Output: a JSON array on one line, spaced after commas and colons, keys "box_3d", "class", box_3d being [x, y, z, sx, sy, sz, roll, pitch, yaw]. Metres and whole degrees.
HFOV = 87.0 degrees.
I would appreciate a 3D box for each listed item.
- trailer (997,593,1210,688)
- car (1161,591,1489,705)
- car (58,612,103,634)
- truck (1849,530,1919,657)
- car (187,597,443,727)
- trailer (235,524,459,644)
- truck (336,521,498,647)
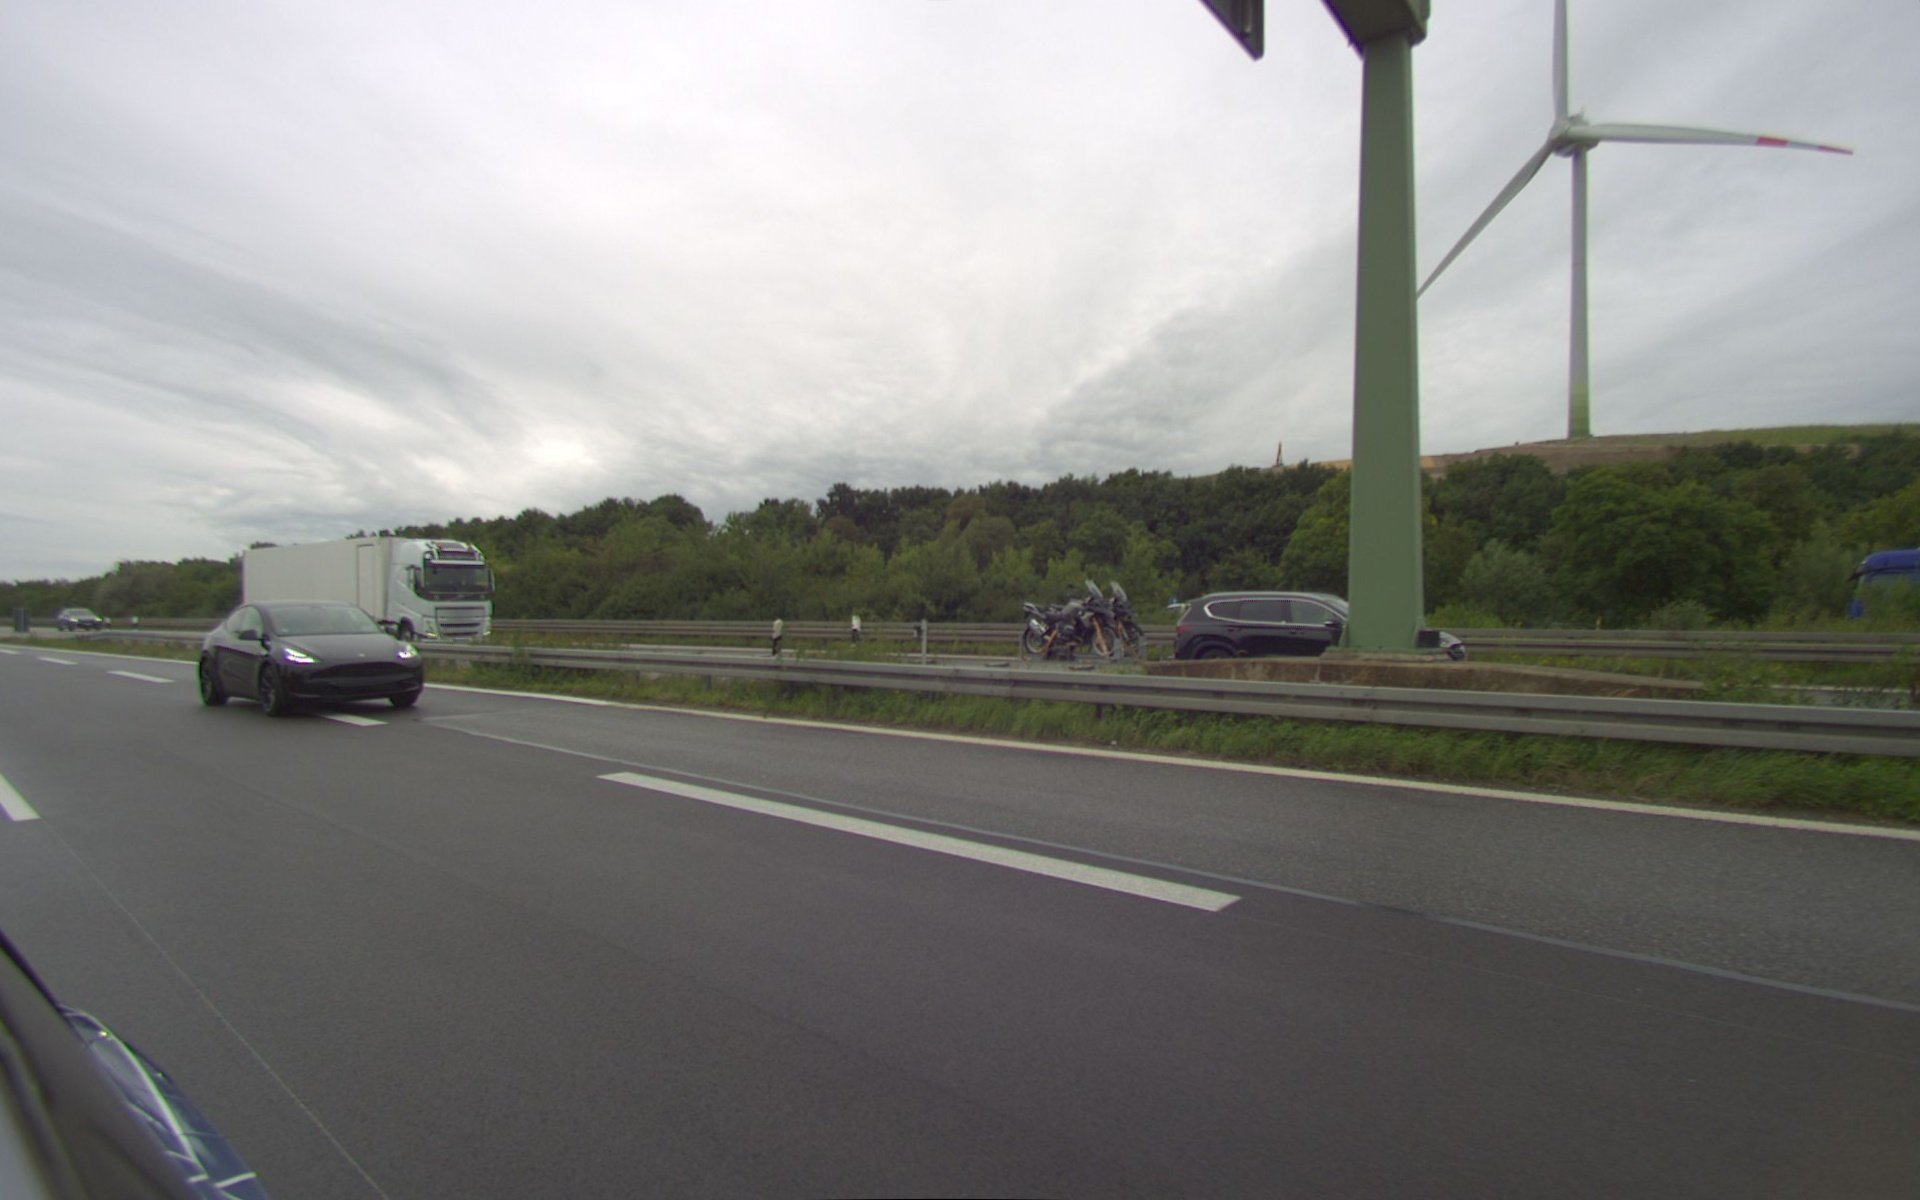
[{"box_3d": [2.715, 0.709, 19.397, 3.606, 1.638, 1.864, 0, 0, 38], "class": "trailer"}, {"box_3d": [5.943, 0.697, 16.819, 4.801, 1.638, 1.864, 0, 0, 38], "class": "car"}, {"box_3d": [-70.001, 1.808, 80.510, 4.479, 1.663, 1.880, -1, -1, 38], "class": "car"}, {"box_3d": [31.940, -0.225, 31.691, 5.890, 3.955, 2.931, -1, -1, 38], "class": "truck"}, {"box_3d": [-9.709, 0.795, 15.094, 4.550, 1.650, 1.942, 0, 0, 40], "class": "car"}, {"box_3d": [-24.891, -0.470, 40.539, 13.928, 4.166, 2.741, -1, 0, 37], "class": "trailer"}, {"box_3d": [-19.709, -0.491, 36.599, 6.434, 4.166, 2.741, -1, 0, 37], "class": "truck"}]
